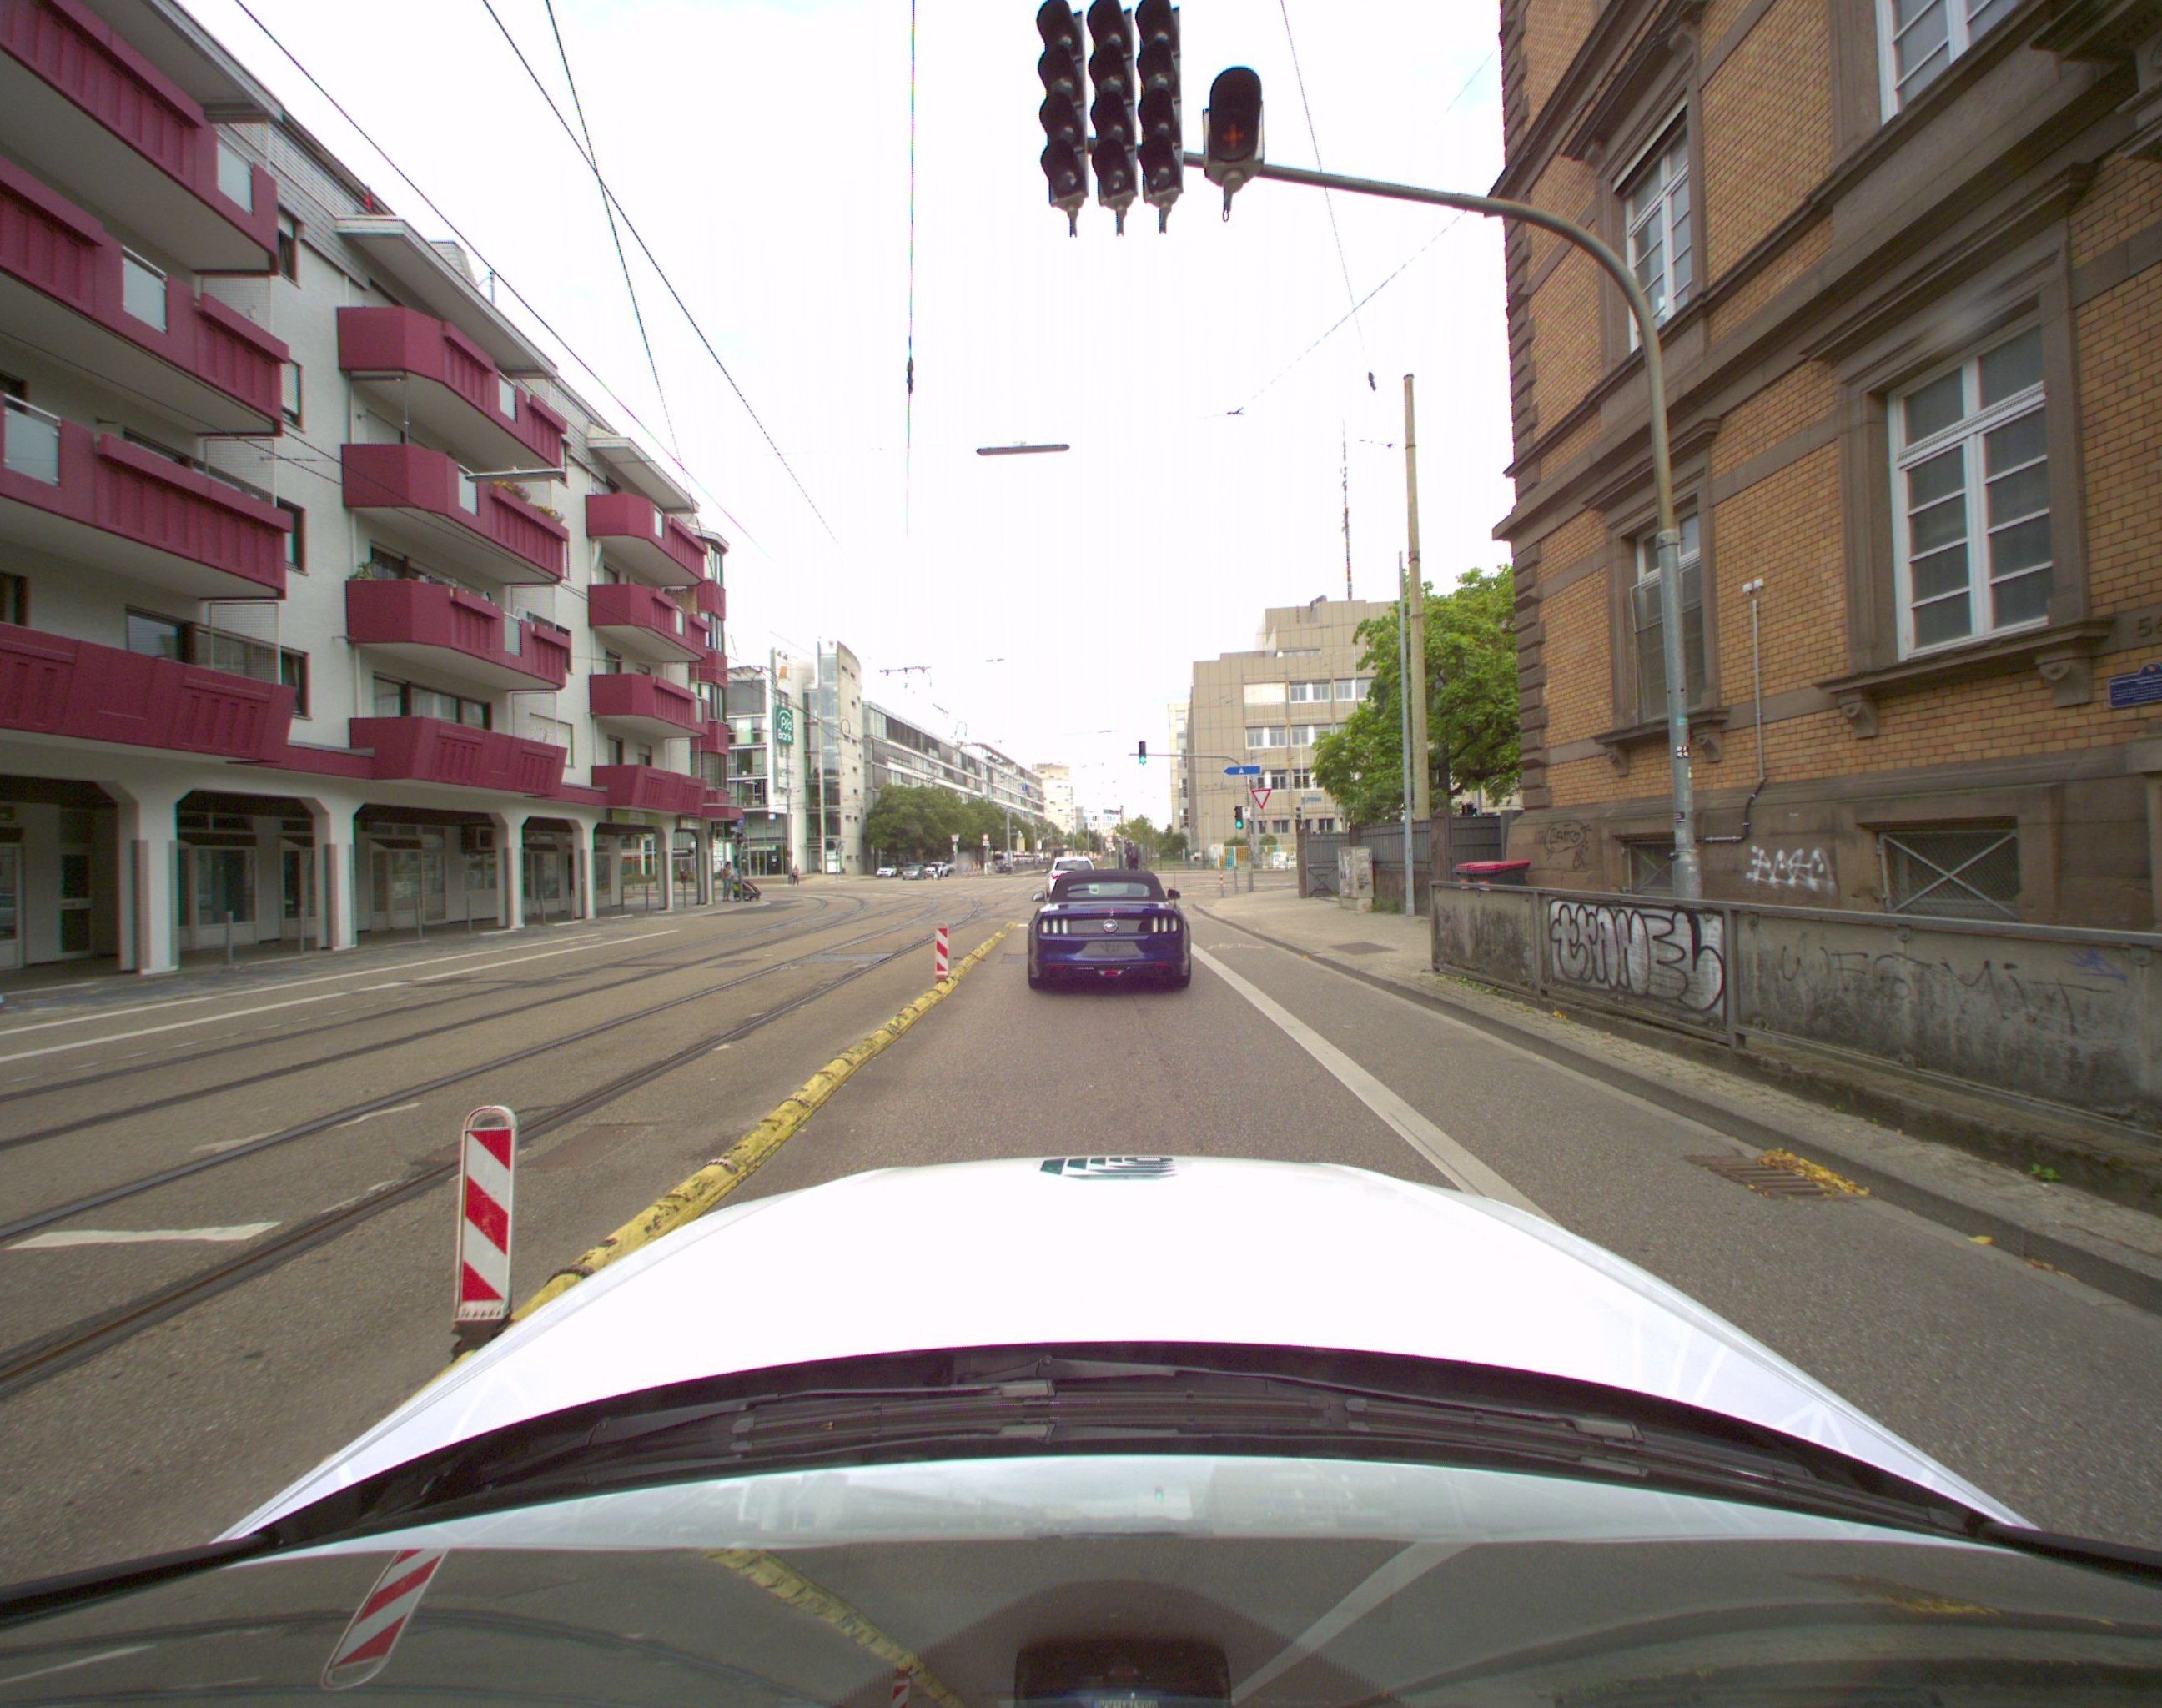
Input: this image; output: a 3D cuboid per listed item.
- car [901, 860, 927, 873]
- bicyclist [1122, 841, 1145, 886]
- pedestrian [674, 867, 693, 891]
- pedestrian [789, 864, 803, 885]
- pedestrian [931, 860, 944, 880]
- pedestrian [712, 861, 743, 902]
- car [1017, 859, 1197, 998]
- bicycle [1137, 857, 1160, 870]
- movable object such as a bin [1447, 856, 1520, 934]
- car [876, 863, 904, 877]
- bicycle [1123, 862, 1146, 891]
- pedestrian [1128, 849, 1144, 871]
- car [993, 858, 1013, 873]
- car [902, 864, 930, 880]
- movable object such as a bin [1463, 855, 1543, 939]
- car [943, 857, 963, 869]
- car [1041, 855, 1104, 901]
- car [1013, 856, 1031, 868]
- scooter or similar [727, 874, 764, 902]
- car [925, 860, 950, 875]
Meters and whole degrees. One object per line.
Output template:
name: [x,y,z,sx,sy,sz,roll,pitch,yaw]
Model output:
car: [-20.124,1.472,98.366,1.820,1.556,4.223,0,0,6]
bicyclist: [2.147,0.394,33.349,0.793,1.785,1.233,-2,0,0]
pedestrian: [-28.589,1.781,58.559,0.928,1.671,0.769,-2,0,14]
pedestrian: [-25.423,1.822,72.605,0.828,1.865,0.769,-2,0,14]
pedestrian: [-13.547,1.537,76.920,0.984,1.855,0.903,-2,0,4]
pedestrian: [-15.312,1.172,35.313,0.945,1.743,0.811,-2,0,-2]
car: [0.355,0.795,10.661,1.869,1.404,4.284,0,0,2]
bicycle: [6.014,0.855,72.345,0.637,0.981,2.133,-2,-3,-40]
movable object such as a bin: [6.033,0.604,12.231,0.649,1.082,0.677,-5,-1,-4]
car: [-21.353,1.772,91.170,1.820,1.556,4.223,0,0,6]
bicycle: [2.174,0.913,33.373,0.798,1.086,2.131,-2,0,0]
pedestrian: [4.861,0.541,71.979,1.075,1.898,0.907,-2,0,34]
car: [-9.283,1.343,97.287,1.872,1.628,4.089,-2,0,2]
car: [-16.826,1.860,83.313,1.659,1.506,4.242,0,0,6]
movable object such as a bin: [5.950,0.594,11.517,0.662,1.082,0.700,-5,-1,-3]
car: [-18.317,1.298,116.673,1.978,1.556,4.516,0,0,3]
car: [-0.386,0.789,28.551,1.832,1.439,4.179,-2,0,-6]
car: [-8.020,1.069,110.861,1.861,1.605,4.214,-2,0,2]
scooter or similar: [-14.559,1.459,35.362,1.192,1.128,0.946,-1,0,-1]
car: [-16.044,1.483,91.081,1.706,1.660,4.140,0,0,6]
